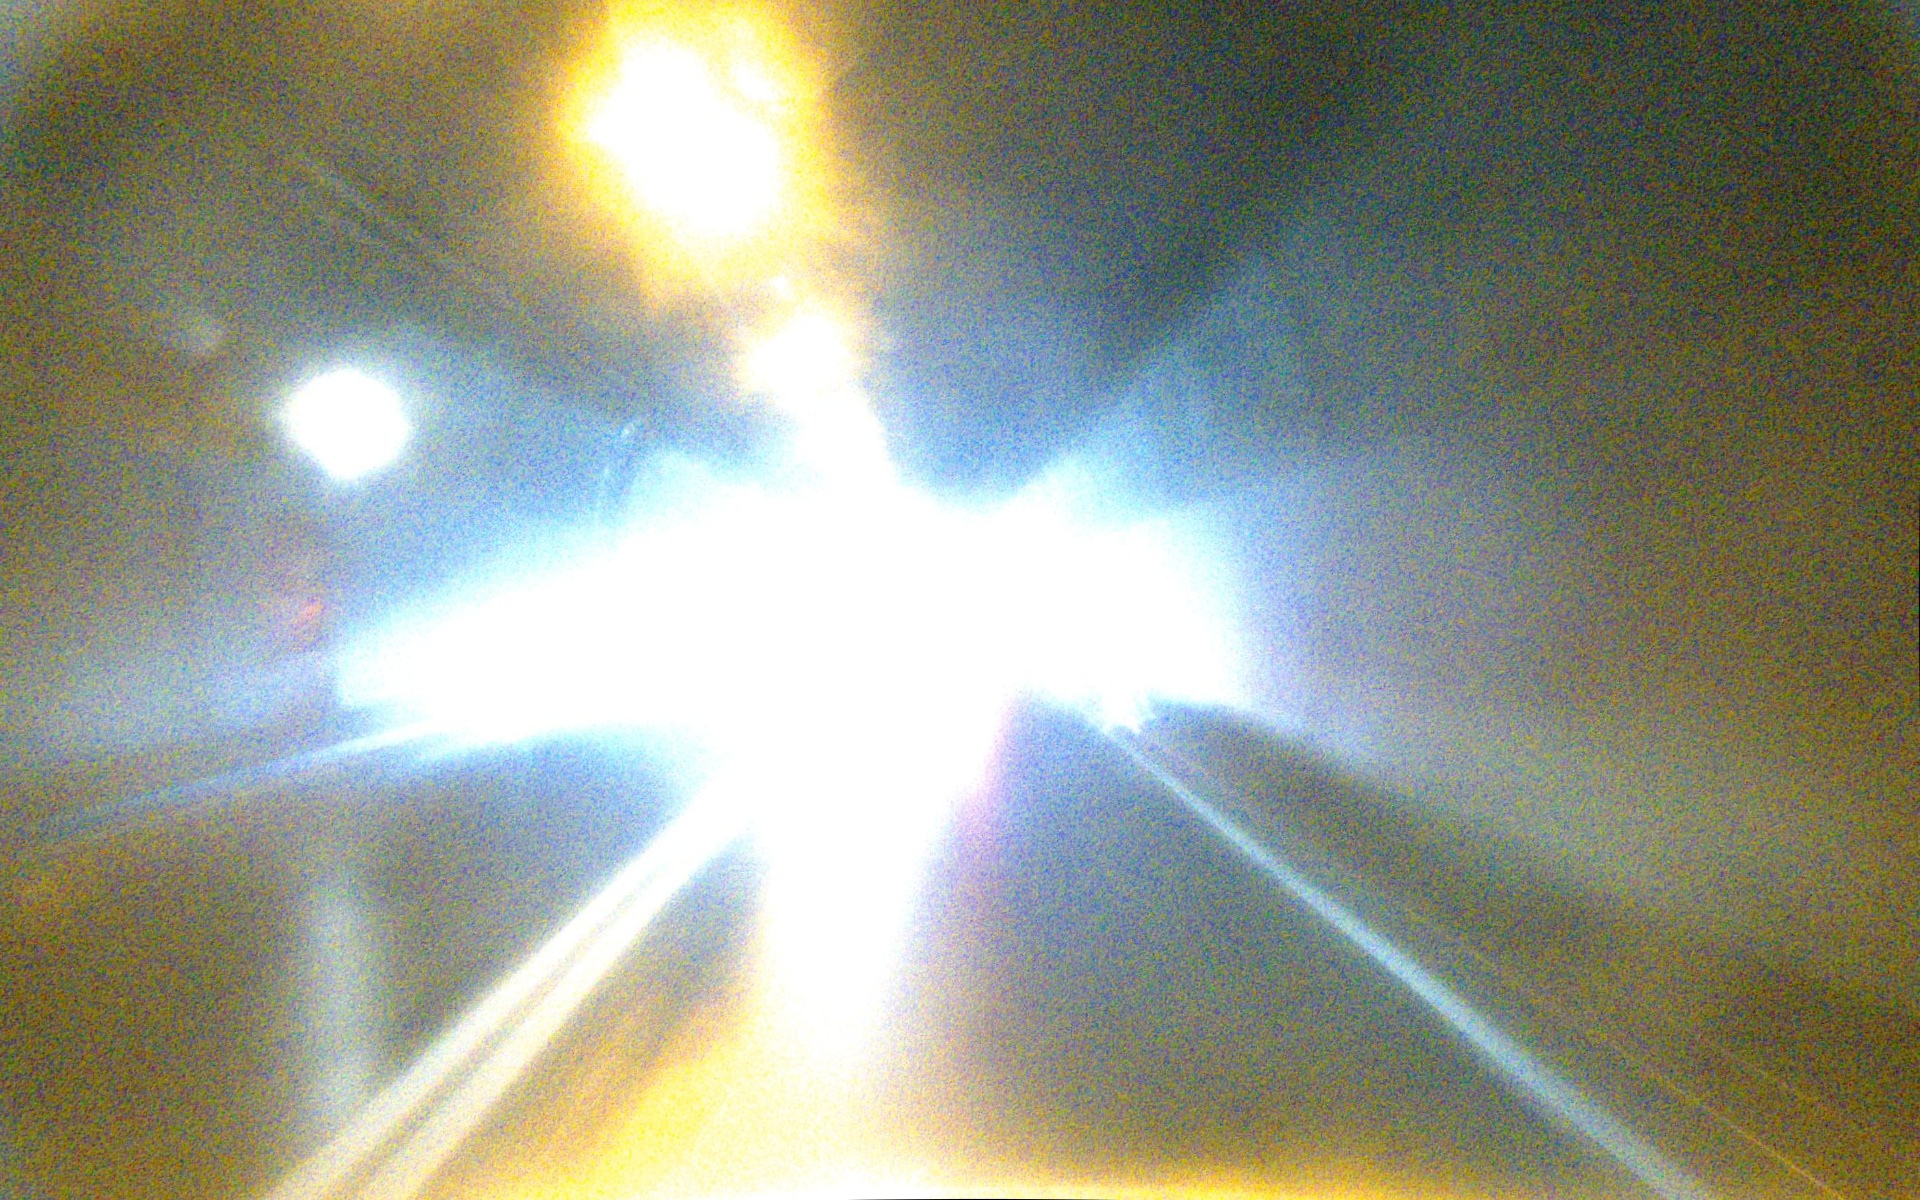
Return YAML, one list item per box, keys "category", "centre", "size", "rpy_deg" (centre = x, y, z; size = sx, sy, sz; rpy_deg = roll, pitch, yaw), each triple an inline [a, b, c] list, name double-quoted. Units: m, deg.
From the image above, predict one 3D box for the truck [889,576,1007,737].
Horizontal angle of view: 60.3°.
- category: "truck"
  centre: [-0.288, 1.101, 35.538]
  size: [2.216, 3.063, 7.413]
  rpy_deg: [1, 0, -1]
